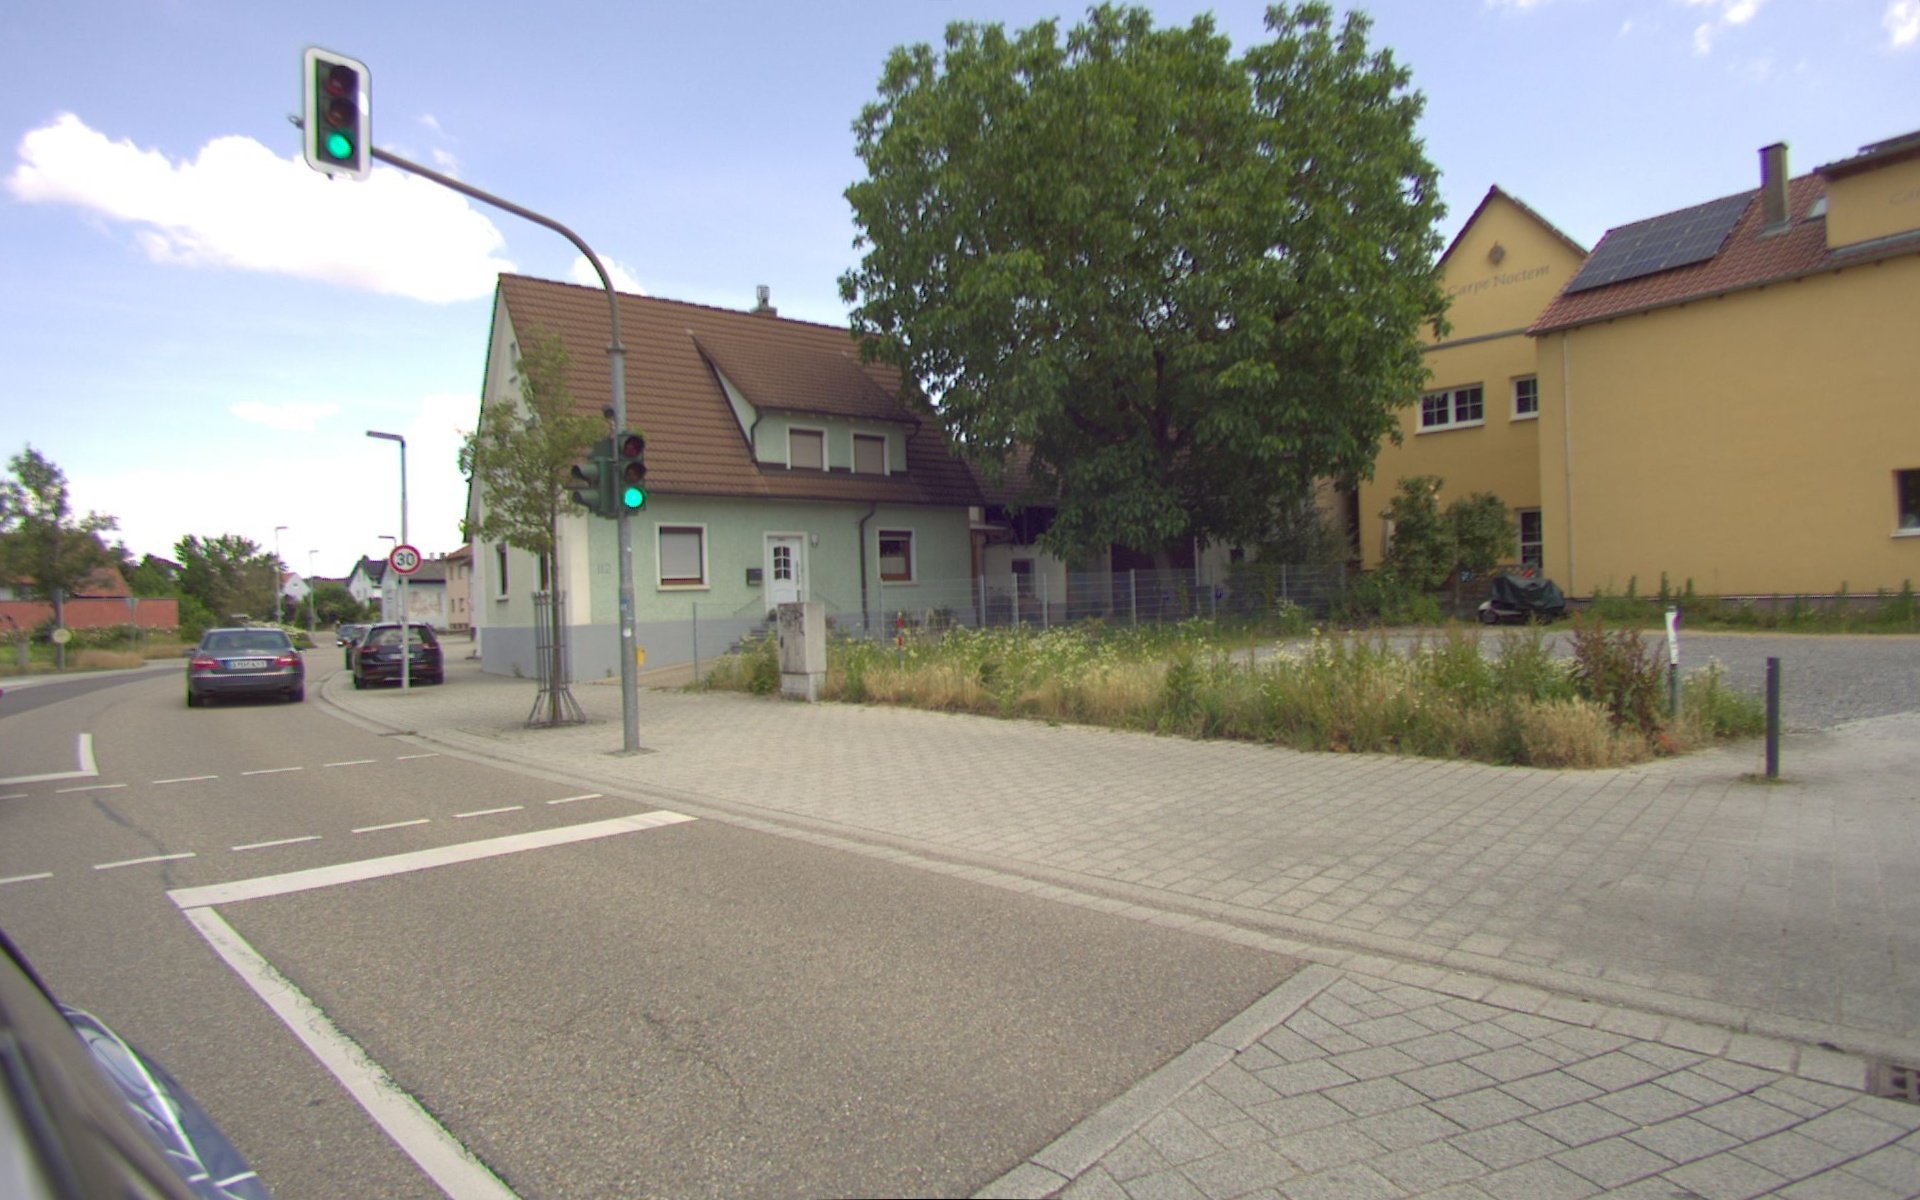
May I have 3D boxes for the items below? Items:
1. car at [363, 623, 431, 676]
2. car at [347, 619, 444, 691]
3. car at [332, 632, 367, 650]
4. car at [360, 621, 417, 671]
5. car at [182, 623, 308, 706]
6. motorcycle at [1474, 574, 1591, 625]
[{"bbox_3d":[-16.431,1.394,29.576,1.632,1.406,3.703,-1,-1,-29],"label":"car"},{"bbox_3d":[-13.458,1.235,24.001,1.709,1.502,4.513,-1,-1,-33],"label":"car"},{"bbox_3d":[-44.188,2.954,73.205,1.966,1.198,4.011,0,-1,-33],"label":"car"},{"bbox_3d":[-19.818,1.559,35.131,1.632,1.574,3.703,-1,-1,-29],"label":"car"},{"bbox_3d":[-14.288,1.225,20.124,1.859,1.446,4.605,0,-2,-37],"label":"car"},{"bbox_3d":[12.599,-0.004,22.326,0.772,1.028,2.068,-2,-1,-43],"label":"motorcycle"}]
